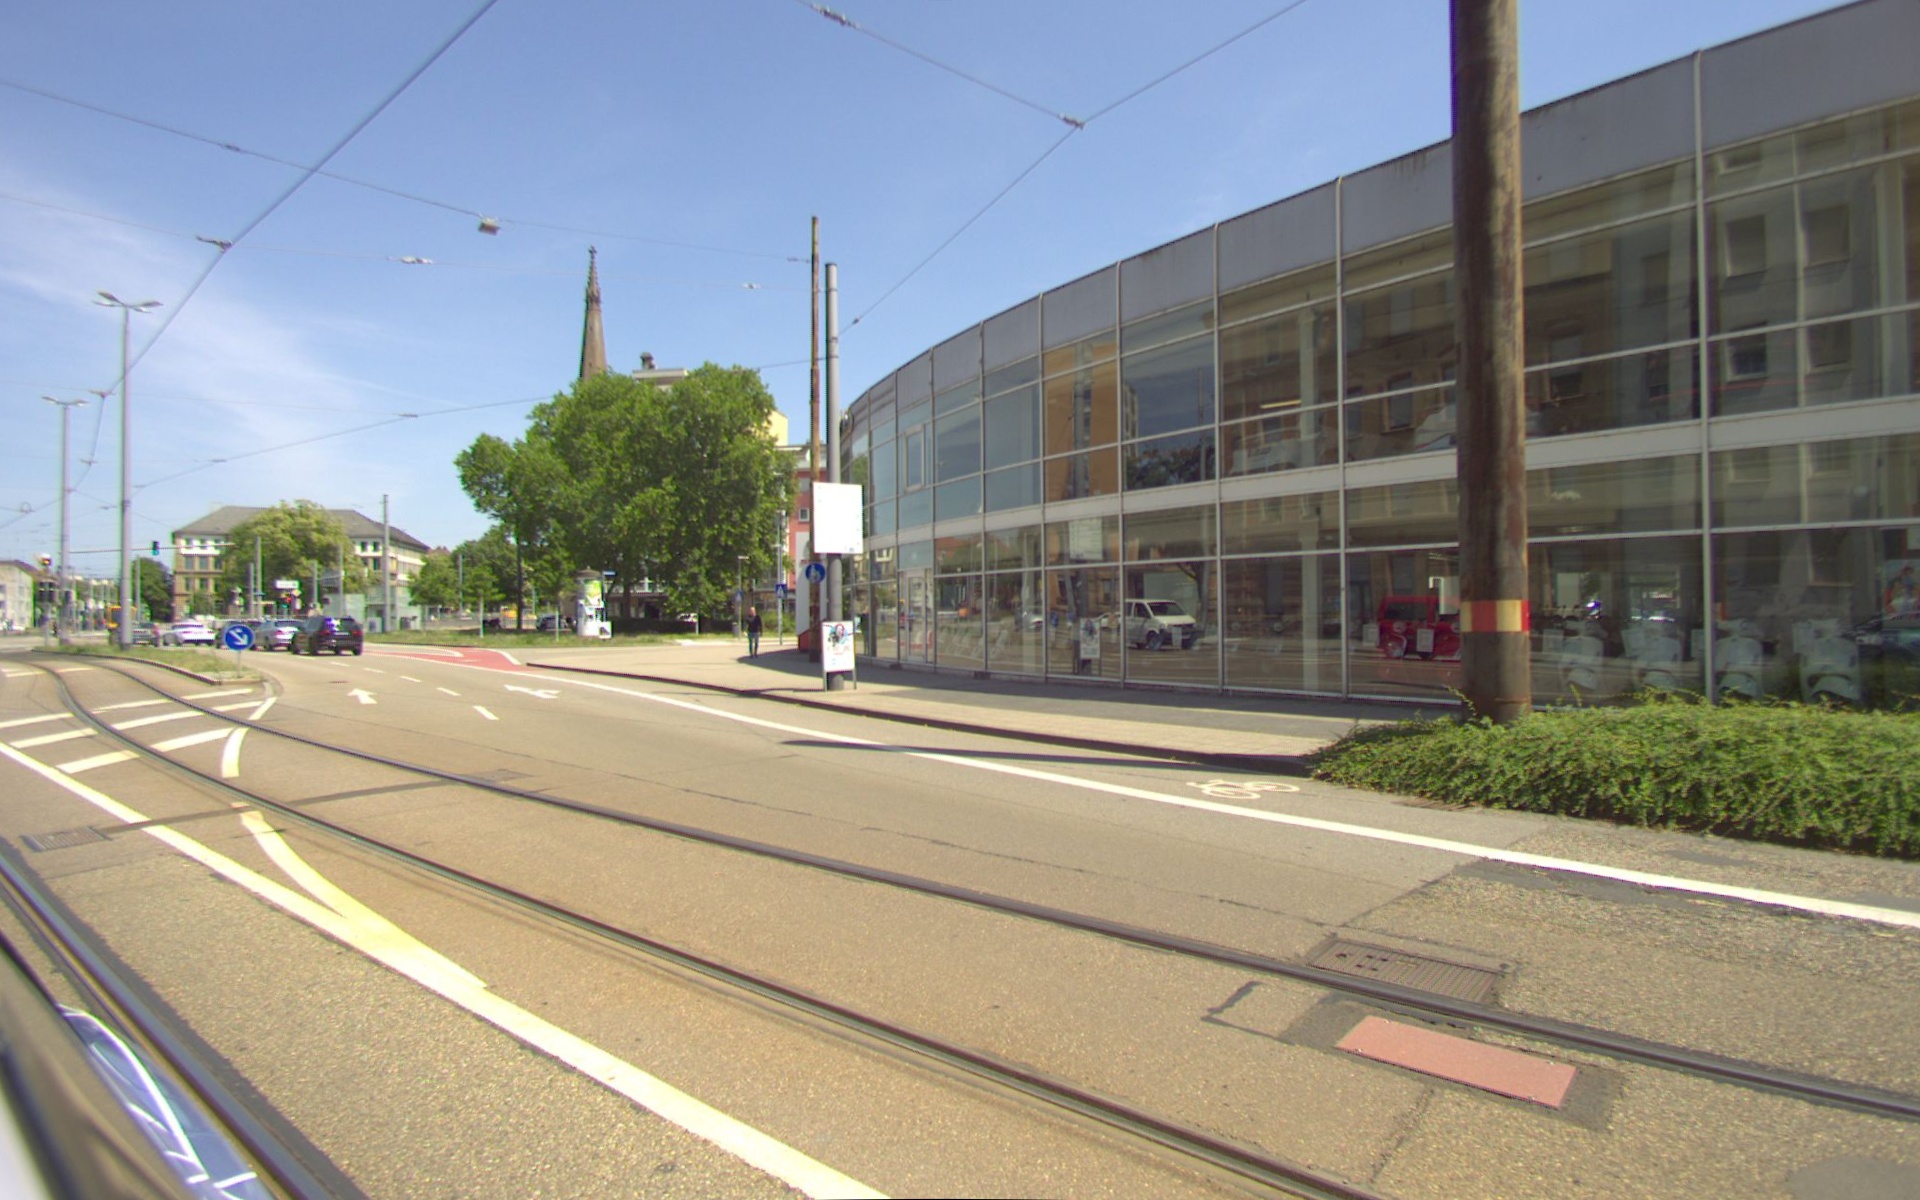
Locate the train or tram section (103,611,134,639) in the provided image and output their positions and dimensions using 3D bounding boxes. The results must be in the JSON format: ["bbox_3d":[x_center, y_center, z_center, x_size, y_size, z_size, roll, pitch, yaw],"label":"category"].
[{"bbox_3d":[-101.117,3.029,121.599,2.799,3.238,9.124,0,-1,-40],"label":"train or tram section"}]

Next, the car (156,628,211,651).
[{"bbox_3d":[-45.757,2.320,59.644,4.200,1.309,1.689,-1,-2,40],"label":"car"}]

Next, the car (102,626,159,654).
[{"bbox_3d":[-46.115,2.238,56.246,4.328,1.491,1.824,-2,-3,42],"label":"car"}]

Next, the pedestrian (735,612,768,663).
[{"bbox_3d":[-6.915,1.249,33.576,0.820,1.654,0.719,-2,-1,44],"label":"pedestrian"}]

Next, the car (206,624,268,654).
[{"bbox_3d":[-36.964,1.975,51.701,3.901,1.473,1.654,-2,-2,40],"label":"car"}]

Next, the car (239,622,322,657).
[{"bbox_3d":[-32.378,1.854,48.187,5.128,1.542,1.973,-1,-3,41],"label":"car"}]

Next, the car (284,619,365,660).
[{"bbox_3d":[-26.616,1.636,42.345,4.526,1.639,1.802,-2,-2,44],"label":"car"}]

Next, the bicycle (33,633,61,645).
[{"bbox_3d":[-85.165,3.639,94.457,0.527,0.986,1.883,-2,-1,36],"label":"bicycle"}]

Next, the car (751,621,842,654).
[{"bbox_3d":[-7.654,1.738,47.500,4.005,1.468,1.500,-1,-1,6],"label":"car"}]
